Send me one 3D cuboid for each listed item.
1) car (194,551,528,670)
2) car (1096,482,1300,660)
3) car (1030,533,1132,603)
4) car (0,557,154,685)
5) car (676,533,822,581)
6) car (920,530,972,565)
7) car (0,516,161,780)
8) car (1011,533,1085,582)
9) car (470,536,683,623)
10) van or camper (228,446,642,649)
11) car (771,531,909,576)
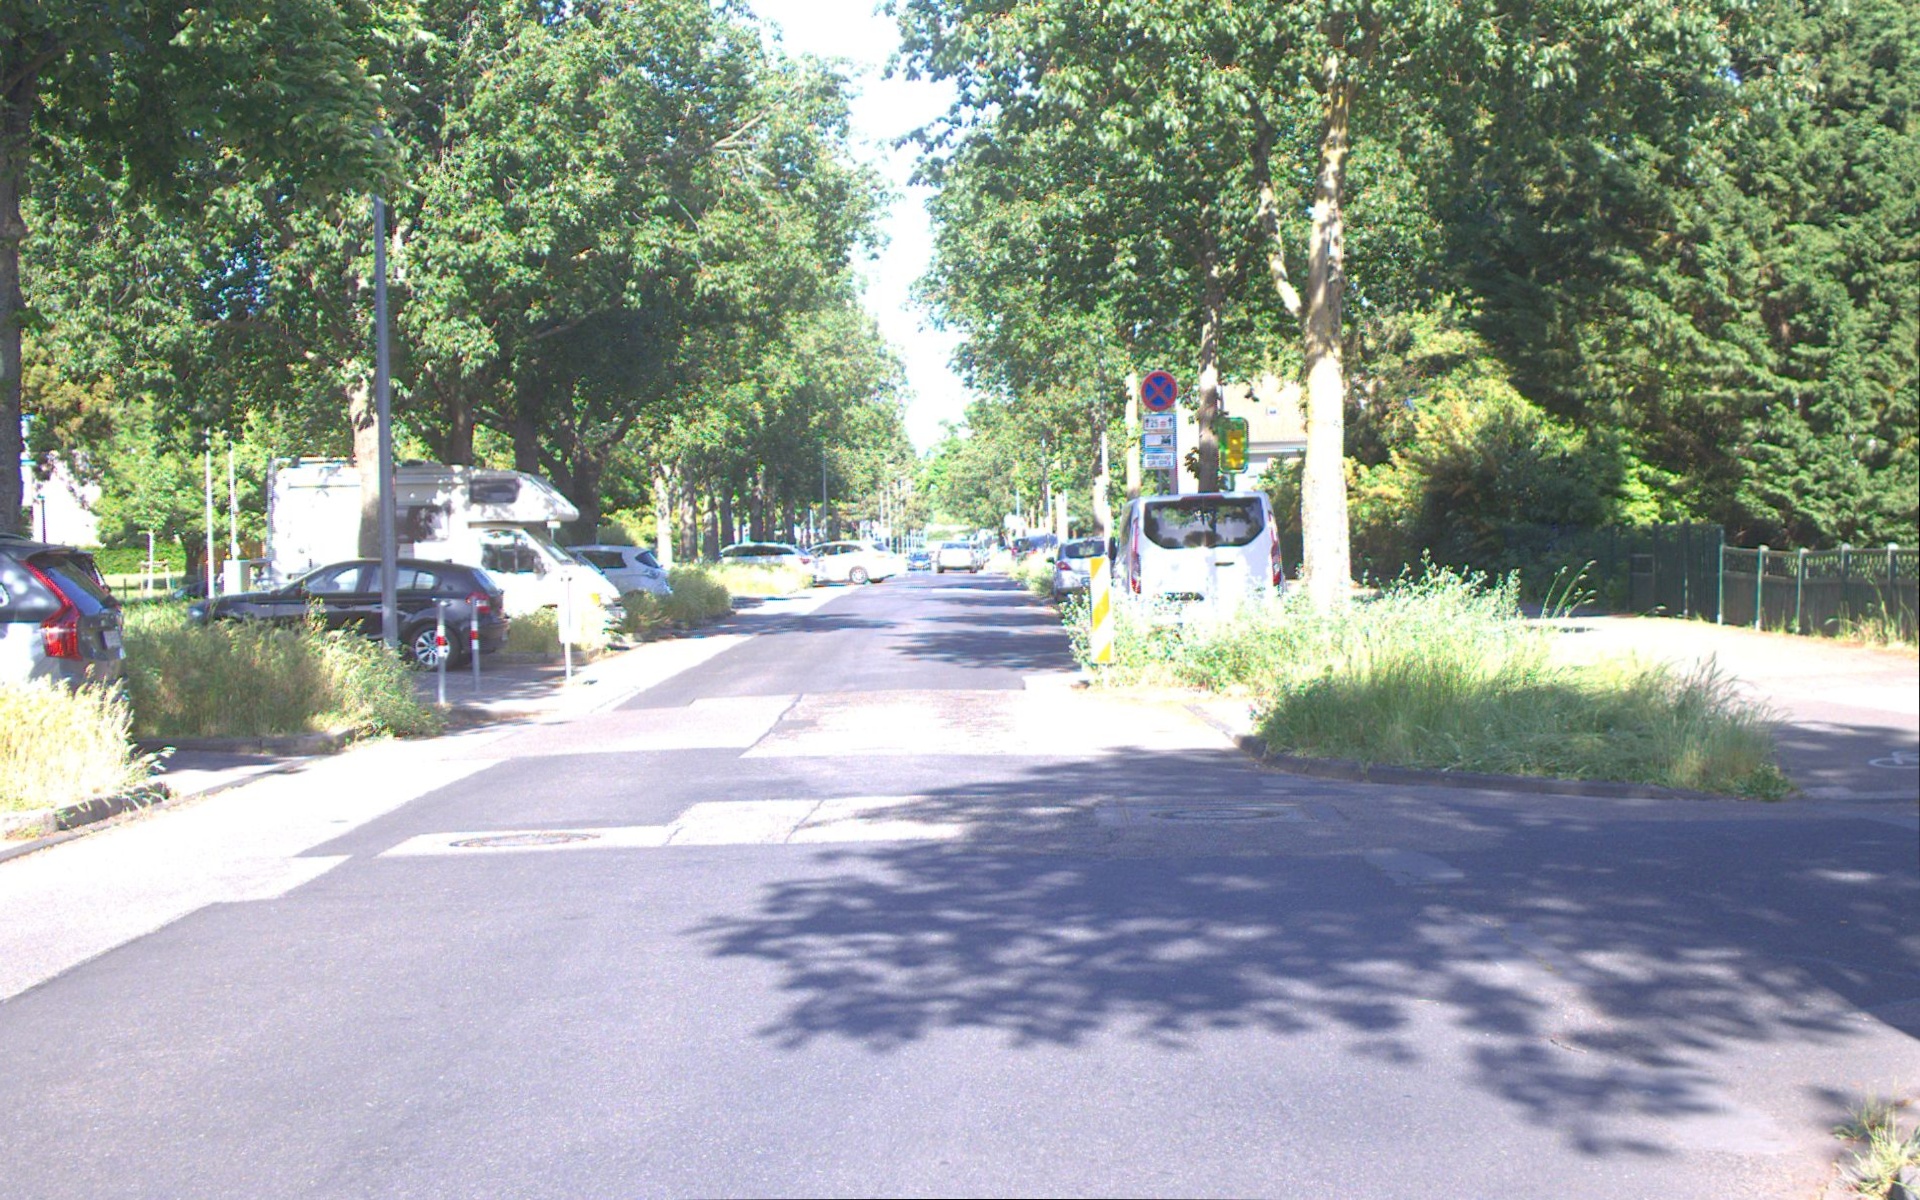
[{"bbox_3d":[-7.744,0.128,44.638,3.987,1.445,1.639,1,0,4],"label":"car"},{"bbox_3d":[2.875,-0.364,42.565,1.993,2.007,5.197,2,0,-1],"label":"car"},{"bbox_3d":[2.849,-0.730,80.105,1.994,1.505,3.999,-2,0,7],"label":"car"},{"bbox_3d":[-12.057,0.240,42.196,3.986,1.537,1.870,0,1,-5],"label":"car"},{"bbox_3d":[-6.993,-1.430,114.447,4.671,1.498,2.000,-1,1,2],"label":"car"},{"bbox_3d":[-0.652,-2.354,154.423,1.993,1.503,3.659,2,0,-5],"label":"car"},{"bbox_3d":[-8.245,0.239,23.603,5.060,1.722,2.000,2,0,-3],"label":"car"},{"bbox_3d":[3.030,-1.466,119.384,1.993,1.616,4.382,2,0,-6],"label":"car"},{"bbox_3d":[-7.575,-0.417,68.186,3.987,1.655,1.967,-1,1,-1],"label":"car"},{"bbox_3d":[-7.807,-0.774,51.448,5.776,2.795,2.000,2,0,2],"label":"van or camper"},{"bbox_3d":[-4.055,-1.568,116.359,4.214,1.450,1.999,-1,1,16],"label":"car"}]
